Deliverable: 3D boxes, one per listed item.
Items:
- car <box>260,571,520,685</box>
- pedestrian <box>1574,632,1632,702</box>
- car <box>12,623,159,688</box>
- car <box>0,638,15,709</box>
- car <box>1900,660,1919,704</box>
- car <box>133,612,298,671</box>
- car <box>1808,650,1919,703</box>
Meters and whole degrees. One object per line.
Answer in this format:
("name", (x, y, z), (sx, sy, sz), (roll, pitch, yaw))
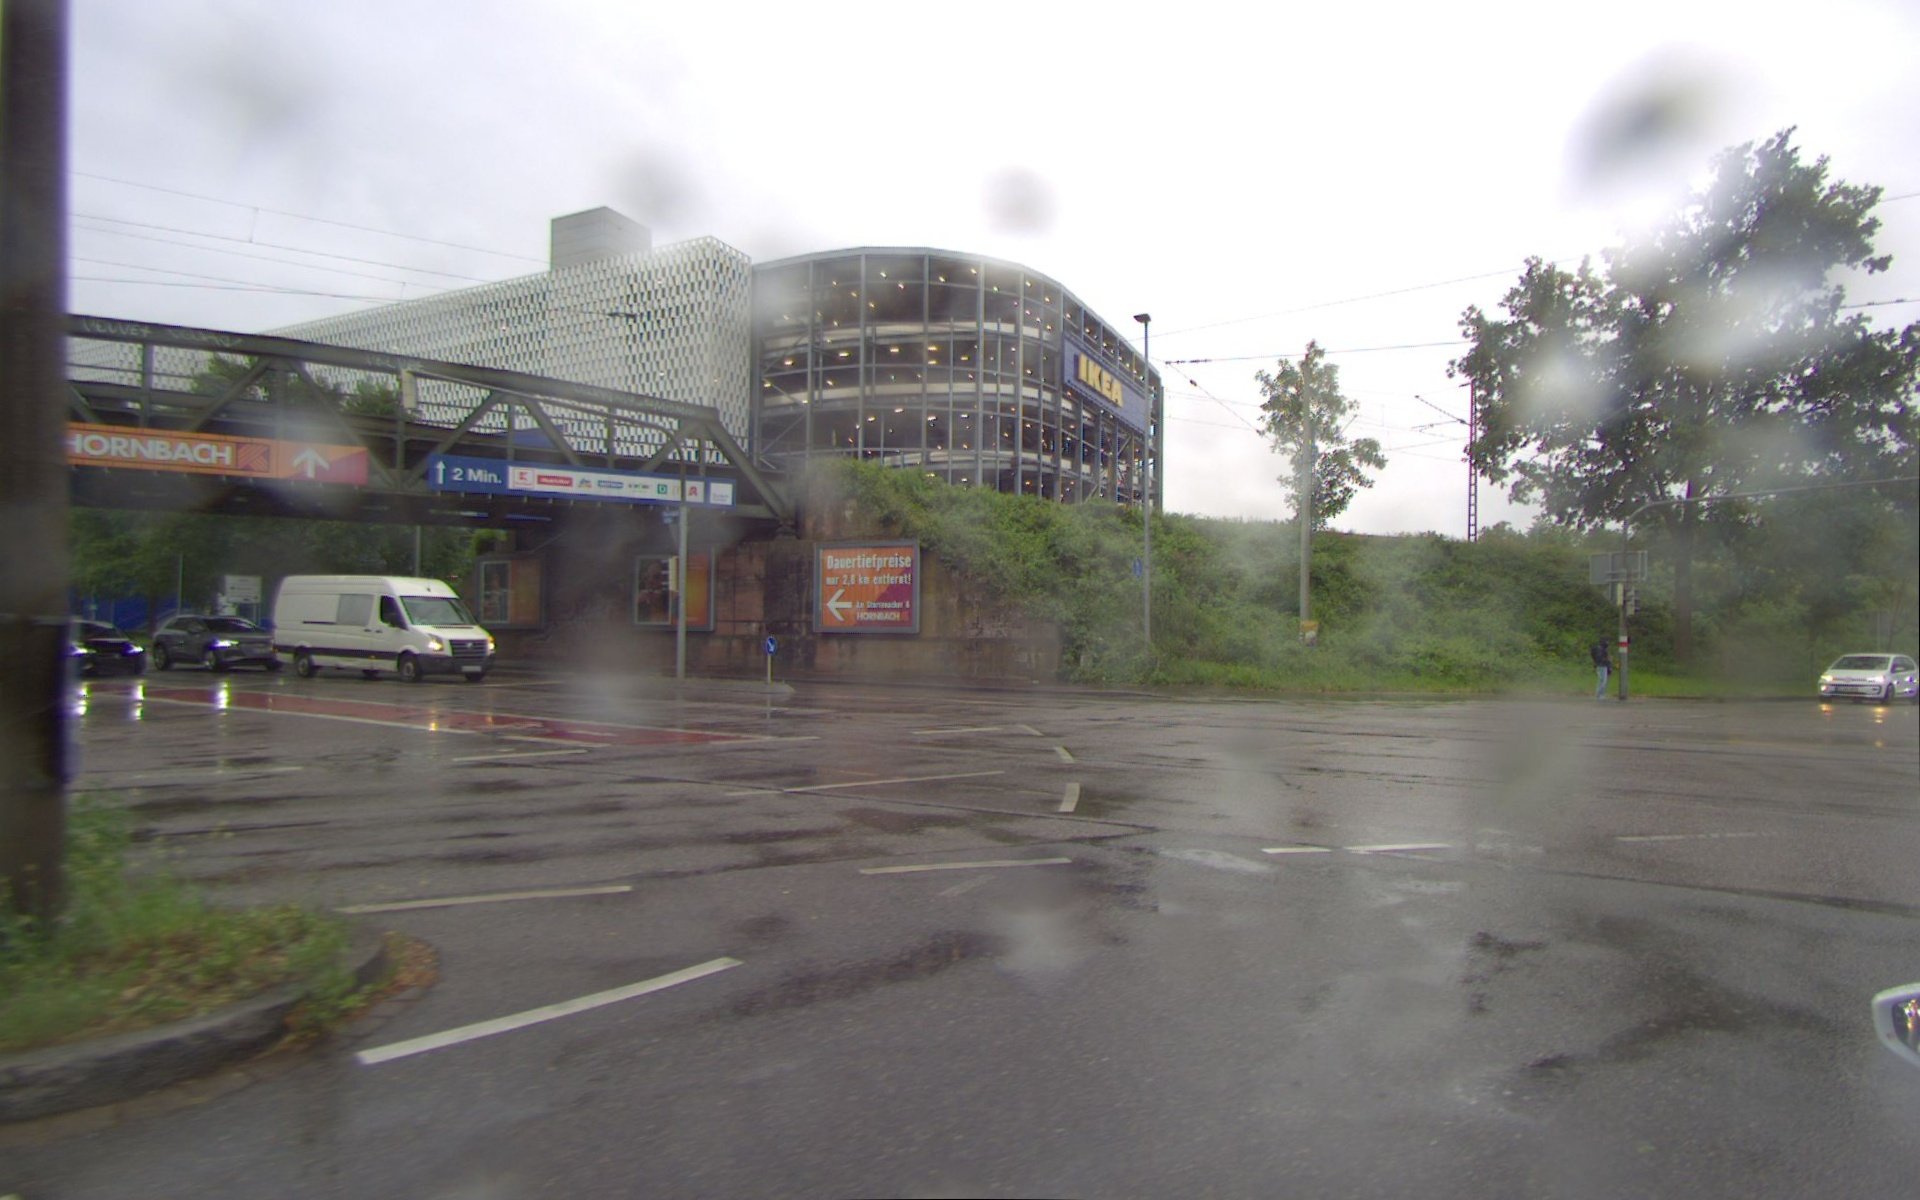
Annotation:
("car", (-14.779, 0.702, 25.958), (6.848, 2.645, 2.385), (0, -2, 27))
("pedestrian", (17.962, 1.857, 28.064), (1.121, 1.871, 1.093), (3, -2, -40))
("car", (-23.772, 1.474, 27.297), (3.837, 1.621, 1.653), (0, -2, 27))
("car", (-21.708, 1.502, 20.782), (4.068, 1.453, 1.692), (0, -1, 24))
("car", (32.807, 2.708, 33.135), (3.778, 1.422, 1.583), (2, -3, -30))
("car", (-22.222, 1.207, 29.977), (4.860, 1.621, 1.881), (0, -2, 26))
("car", (27.239, 2.262, 30.120), (3.744, 1.471, 1.630), (2, -3, -31))
